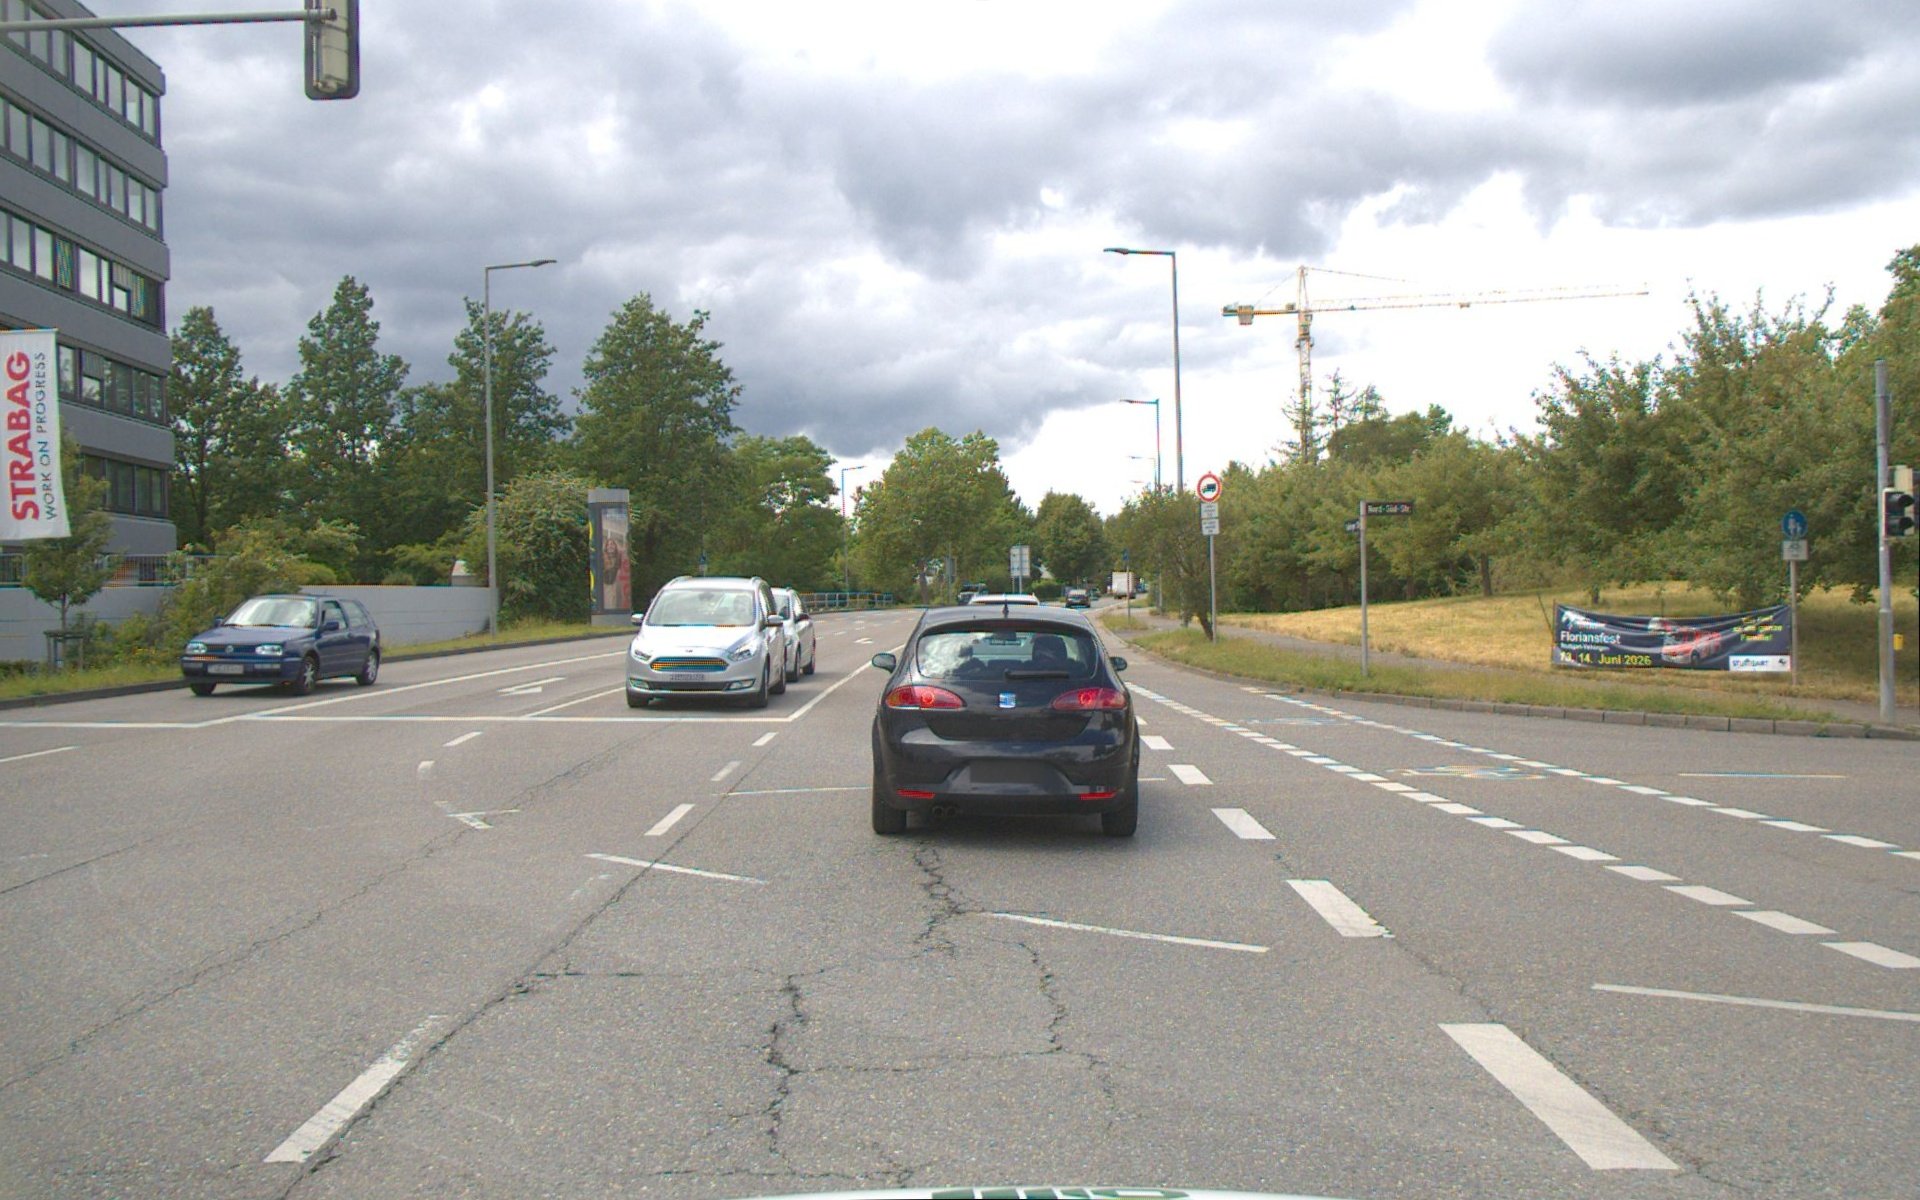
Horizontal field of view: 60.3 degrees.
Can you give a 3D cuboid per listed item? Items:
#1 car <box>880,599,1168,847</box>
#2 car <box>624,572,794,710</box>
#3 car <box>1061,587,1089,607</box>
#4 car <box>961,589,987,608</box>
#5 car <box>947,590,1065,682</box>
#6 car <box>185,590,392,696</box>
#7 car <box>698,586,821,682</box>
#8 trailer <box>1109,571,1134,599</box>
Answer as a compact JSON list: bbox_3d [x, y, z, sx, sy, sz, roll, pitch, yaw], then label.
[{"bbox_3d":[0.302,0.730,11.537,1.677,1.442,3.457,1,0,-3],"label":"car"},{"bbox_3d":[-3.399,0.497,23.173,1.784,1.716,4.644,1,1,-2],"label":"car"},{"bbox_3d":[9.041,-0.247,129.711,1.951,1.593,4.474,0,0,7],"label":"car"},{"bbox_3d":[1.227,-0.107,140.050,1.678,1.609,3.745,1,0,8],"label":"car"},{"bbox_3d":[0.742,0.597,28.883,1.798,1.493,3.749,1,0,-2],"label":"car"},{"bbox_3d":[-9.961,0.583,24.835,1.522,1.444,3.896,0,1,0],"label":"car"},{"bbox_3d":[-3.459,0.536,29.168,1.626,1.545,4.085,1,1,1],"label":"car"},{"bbox_3d":[18.752,-1.677,191.953,2.438,3.127,5.591,1,0,11],"label":"trailer"}]
